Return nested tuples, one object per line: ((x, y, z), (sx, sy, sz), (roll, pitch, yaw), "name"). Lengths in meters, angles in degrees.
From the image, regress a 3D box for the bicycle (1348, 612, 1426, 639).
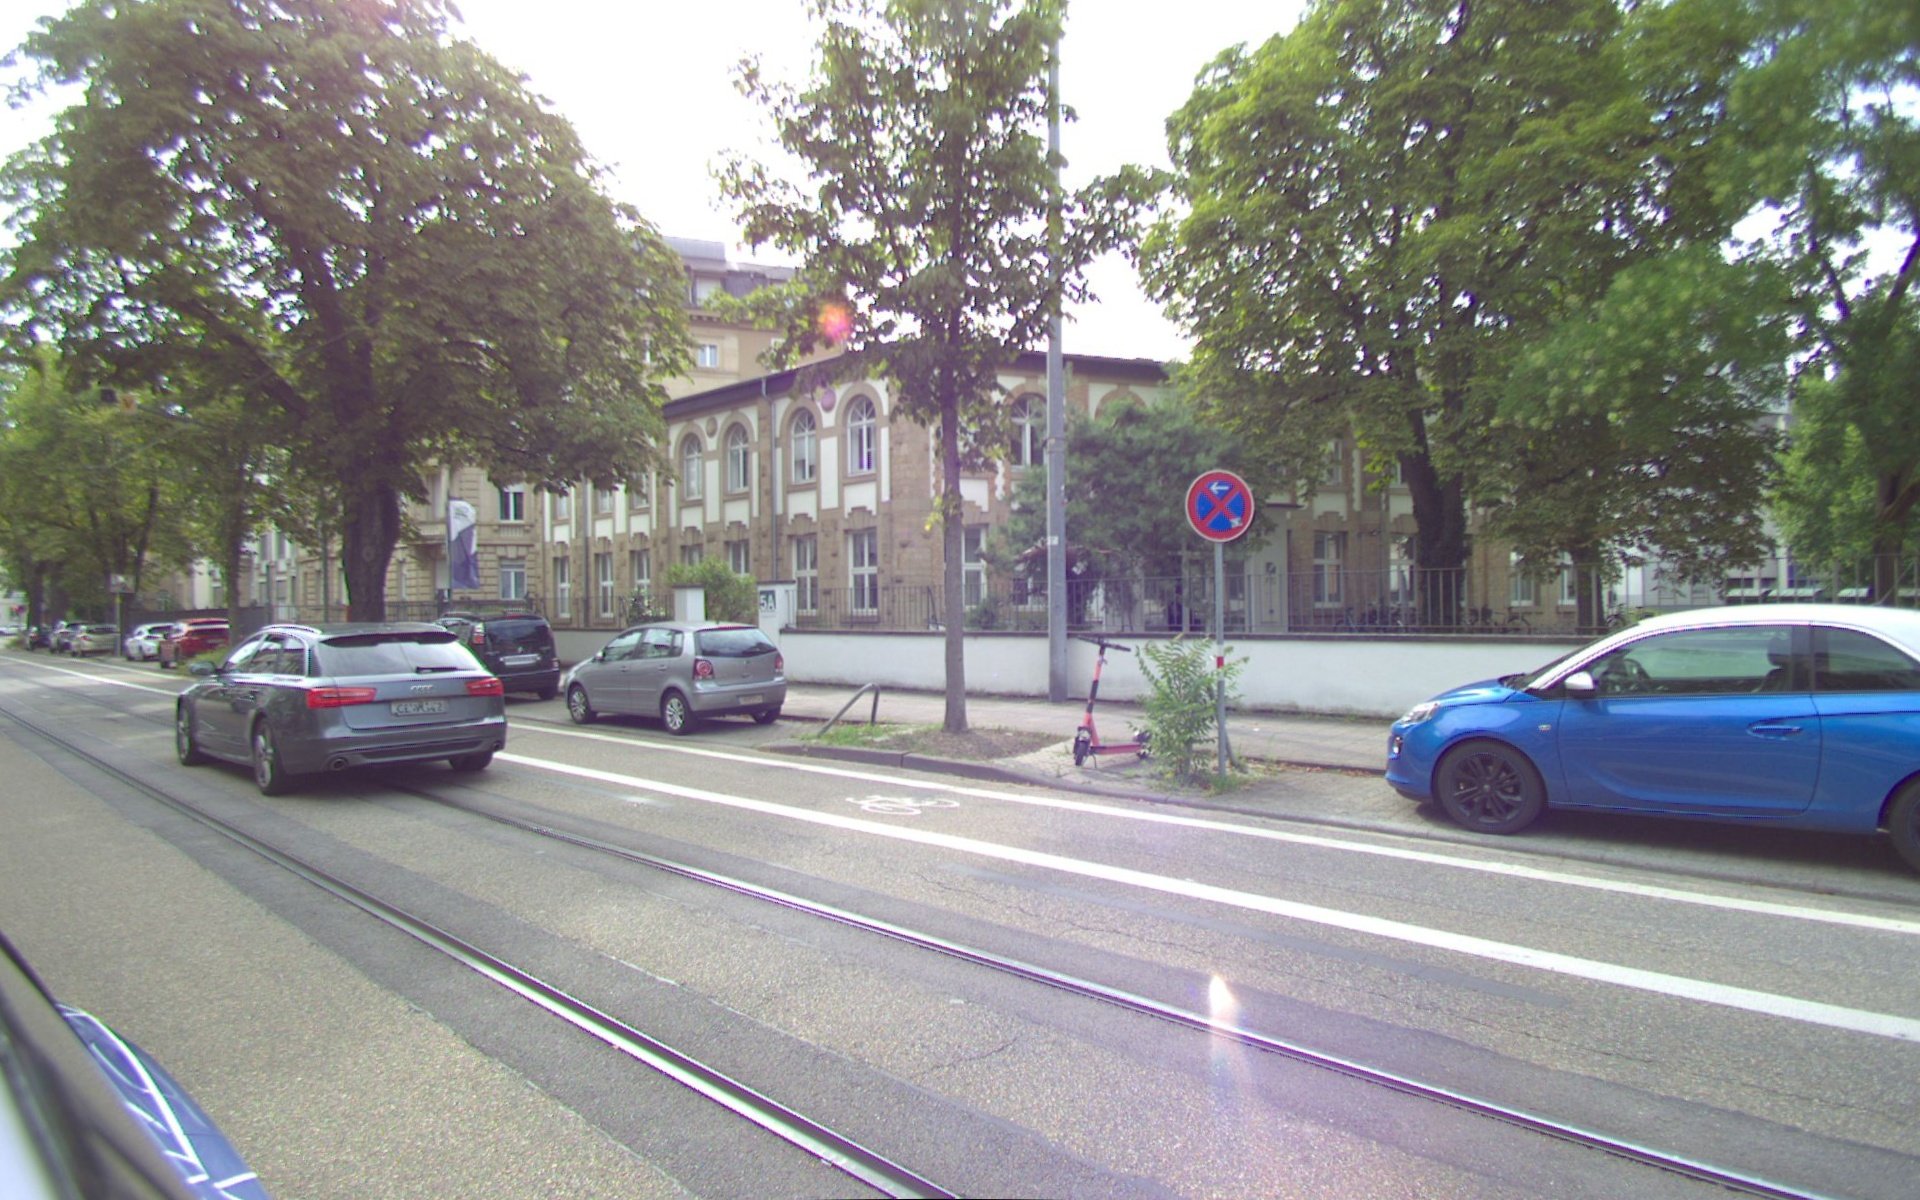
((12.170, 0.726, 28.890), (0.702, 0.713, 2.053), (-2, 0, -28), "bicycle")

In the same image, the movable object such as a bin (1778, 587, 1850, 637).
((24.239, 0.335, 28.744), (0.954, 1.385, 1.208), (-2, 0, -22), "movable object such as a bin")

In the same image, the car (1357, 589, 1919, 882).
((4.744, 0.722, 6.568), (3.675, 1.498, 1.675), (-2, 0, 41), "car")

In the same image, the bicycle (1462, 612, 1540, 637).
((16.580, 0.762, 31.056), (2.042, 0.713, 0.706), (-2, 0, 35), "bicycle")

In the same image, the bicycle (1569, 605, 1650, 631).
((20.600, 0.575, 32.148), (0.702, 0.779, 2.053), (-2, 0, -28), "bicycle")

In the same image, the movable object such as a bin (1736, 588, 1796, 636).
((23.832, 0.349, 29.926), (0.954, 1.385, 1.024), (-2, 0, -22), "movable object such as a bin")

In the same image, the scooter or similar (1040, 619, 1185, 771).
((1.495, 0.863, 9.802), (0.700, 1.354, 1.427), (-2, -2, 43), "scooter or similar")

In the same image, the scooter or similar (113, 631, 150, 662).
((-34.712, 1.945, 42.399), (1.313, 1.232, 0.559), (-1, -1, 19), "scooter or similar")

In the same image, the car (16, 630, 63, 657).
((-54.591, 2.538, 59.991), (4.166, 1.435, 1.701), (-2, 1, 44), "car")

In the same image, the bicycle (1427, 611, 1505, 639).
((15.062, 0.744, 30.184), (0.702, 0.779, 2.053), (-2, 0, -28), "bicycle")

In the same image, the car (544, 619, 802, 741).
((-4.157, 1.033, 14.367), (3.866, 1.438, 1.675), (-2, 0, 41), "car")

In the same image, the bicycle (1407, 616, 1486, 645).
((14.255, 0.884, 29.694), (0.702, 0.779, 2.053), (-2, 0, -28), "bicycle")

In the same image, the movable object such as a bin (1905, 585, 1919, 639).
((25.257, 0.301, 26.018), (0.846, 1.385, 1.097), (-2, 0, -22), "movable object such as a bin")

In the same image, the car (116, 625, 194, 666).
((-32.074, 1.784, 40.284), (4.021, 1.434, 1.704), (-2, 1, 41), "car")

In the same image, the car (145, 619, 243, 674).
((-25.984, 1.535, 34.274), (4.540, 1.667, 1.704), (-2, 1, 41), "car")

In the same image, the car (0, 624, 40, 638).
((-117.670, 3.922, 126.373), (3.944, 1.644, 1.678), (-1, -1, 0), "car")

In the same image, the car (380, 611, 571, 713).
((-9.063, 1.078, 18.795), (4.050, 1.659, 1.737), (-2, 0, 41), "car")

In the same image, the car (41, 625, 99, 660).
((-45.716, 2.160, 51.945), (4.355, 1.686, 1.692), (-2, -1, 42), "car")

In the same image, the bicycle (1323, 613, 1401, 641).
((11.301, 0.753, 28.533), (0.702, 0.713, 2.053), (-2, 0, -28), "bicycle")

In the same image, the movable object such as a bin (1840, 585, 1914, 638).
((24.830, 0.316, 27.410), (0.846, 1.385, 1.208), (-2, 0, -22), "movable object such as a bin")

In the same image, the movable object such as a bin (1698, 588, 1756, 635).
((23.445, 0.362, 30.950), (0.954, 1.385, 1.024), (-2, 0, -22), "movable object such as a bin")

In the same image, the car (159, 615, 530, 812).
((-6.148, 0.917, 9.858), (4.551, 1.459, 1.815), (-2, -1, 41), "car")

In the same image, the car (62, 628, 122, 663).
((-40.153, 2.087, 46.784), (4.077, 1.479, 1.584), (-2, -1, 42), "car")
